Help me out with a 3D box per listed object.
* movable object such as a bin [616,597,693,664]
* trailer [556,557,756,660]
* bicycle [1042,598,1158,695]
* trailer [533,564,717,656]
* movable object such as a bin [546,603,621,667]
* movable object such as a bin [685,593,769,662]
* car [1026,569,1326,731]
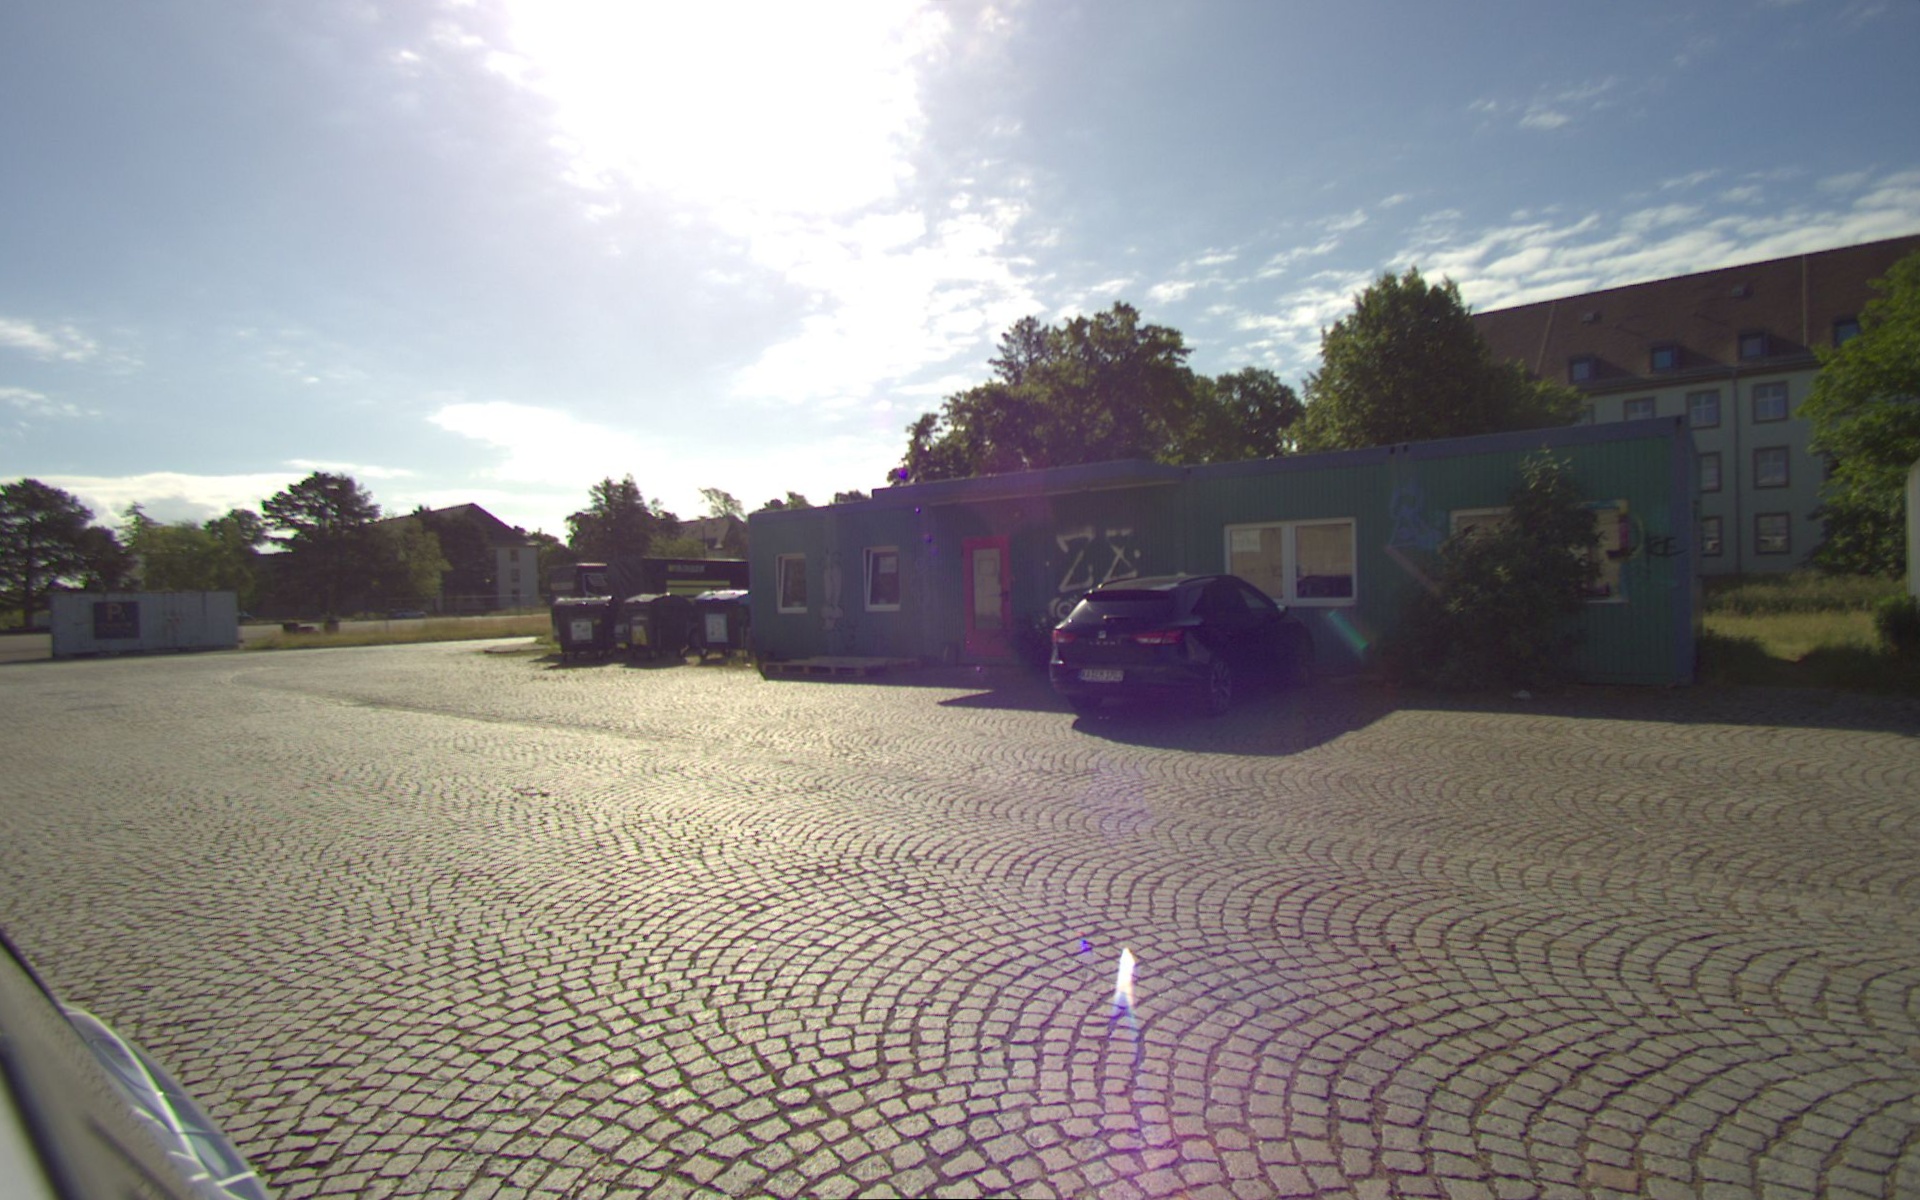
[{"bbox_3d":[-6.792,0.660,22.472,1.369,1.396,1.068,-2,0,44],"label":"movable object such as a bin"},{"bbox_3d":[-7.799,0.135,26.429,1.938,2.408,4.799,-2,1,35],"label":"trailer"},{"bbox_3d":[1.879,0.581,13.383,0.673,1.109,1.691,-2,2,40],"label":"bicycle"},{"bbox_3d":[-9.289,0.216,28.344,2.013,2.290,4.409,-2,2,40],"label":"trailer"},{"bbox_3d":[-8.714,0.786,23.471,1.345,1.396,1.048,-2,0,-2],"label":"movable object such as a bin"},{"bbox_3d":[-5.076,0.589,22.085,1.403,1.447,1.078,-2,0,29],"label":"movable object such as a bin"},{"bbox_3d":[2.612,0.427,11.484,1.729,1.423,4.011,-1,2,38],"label":"car"}]
